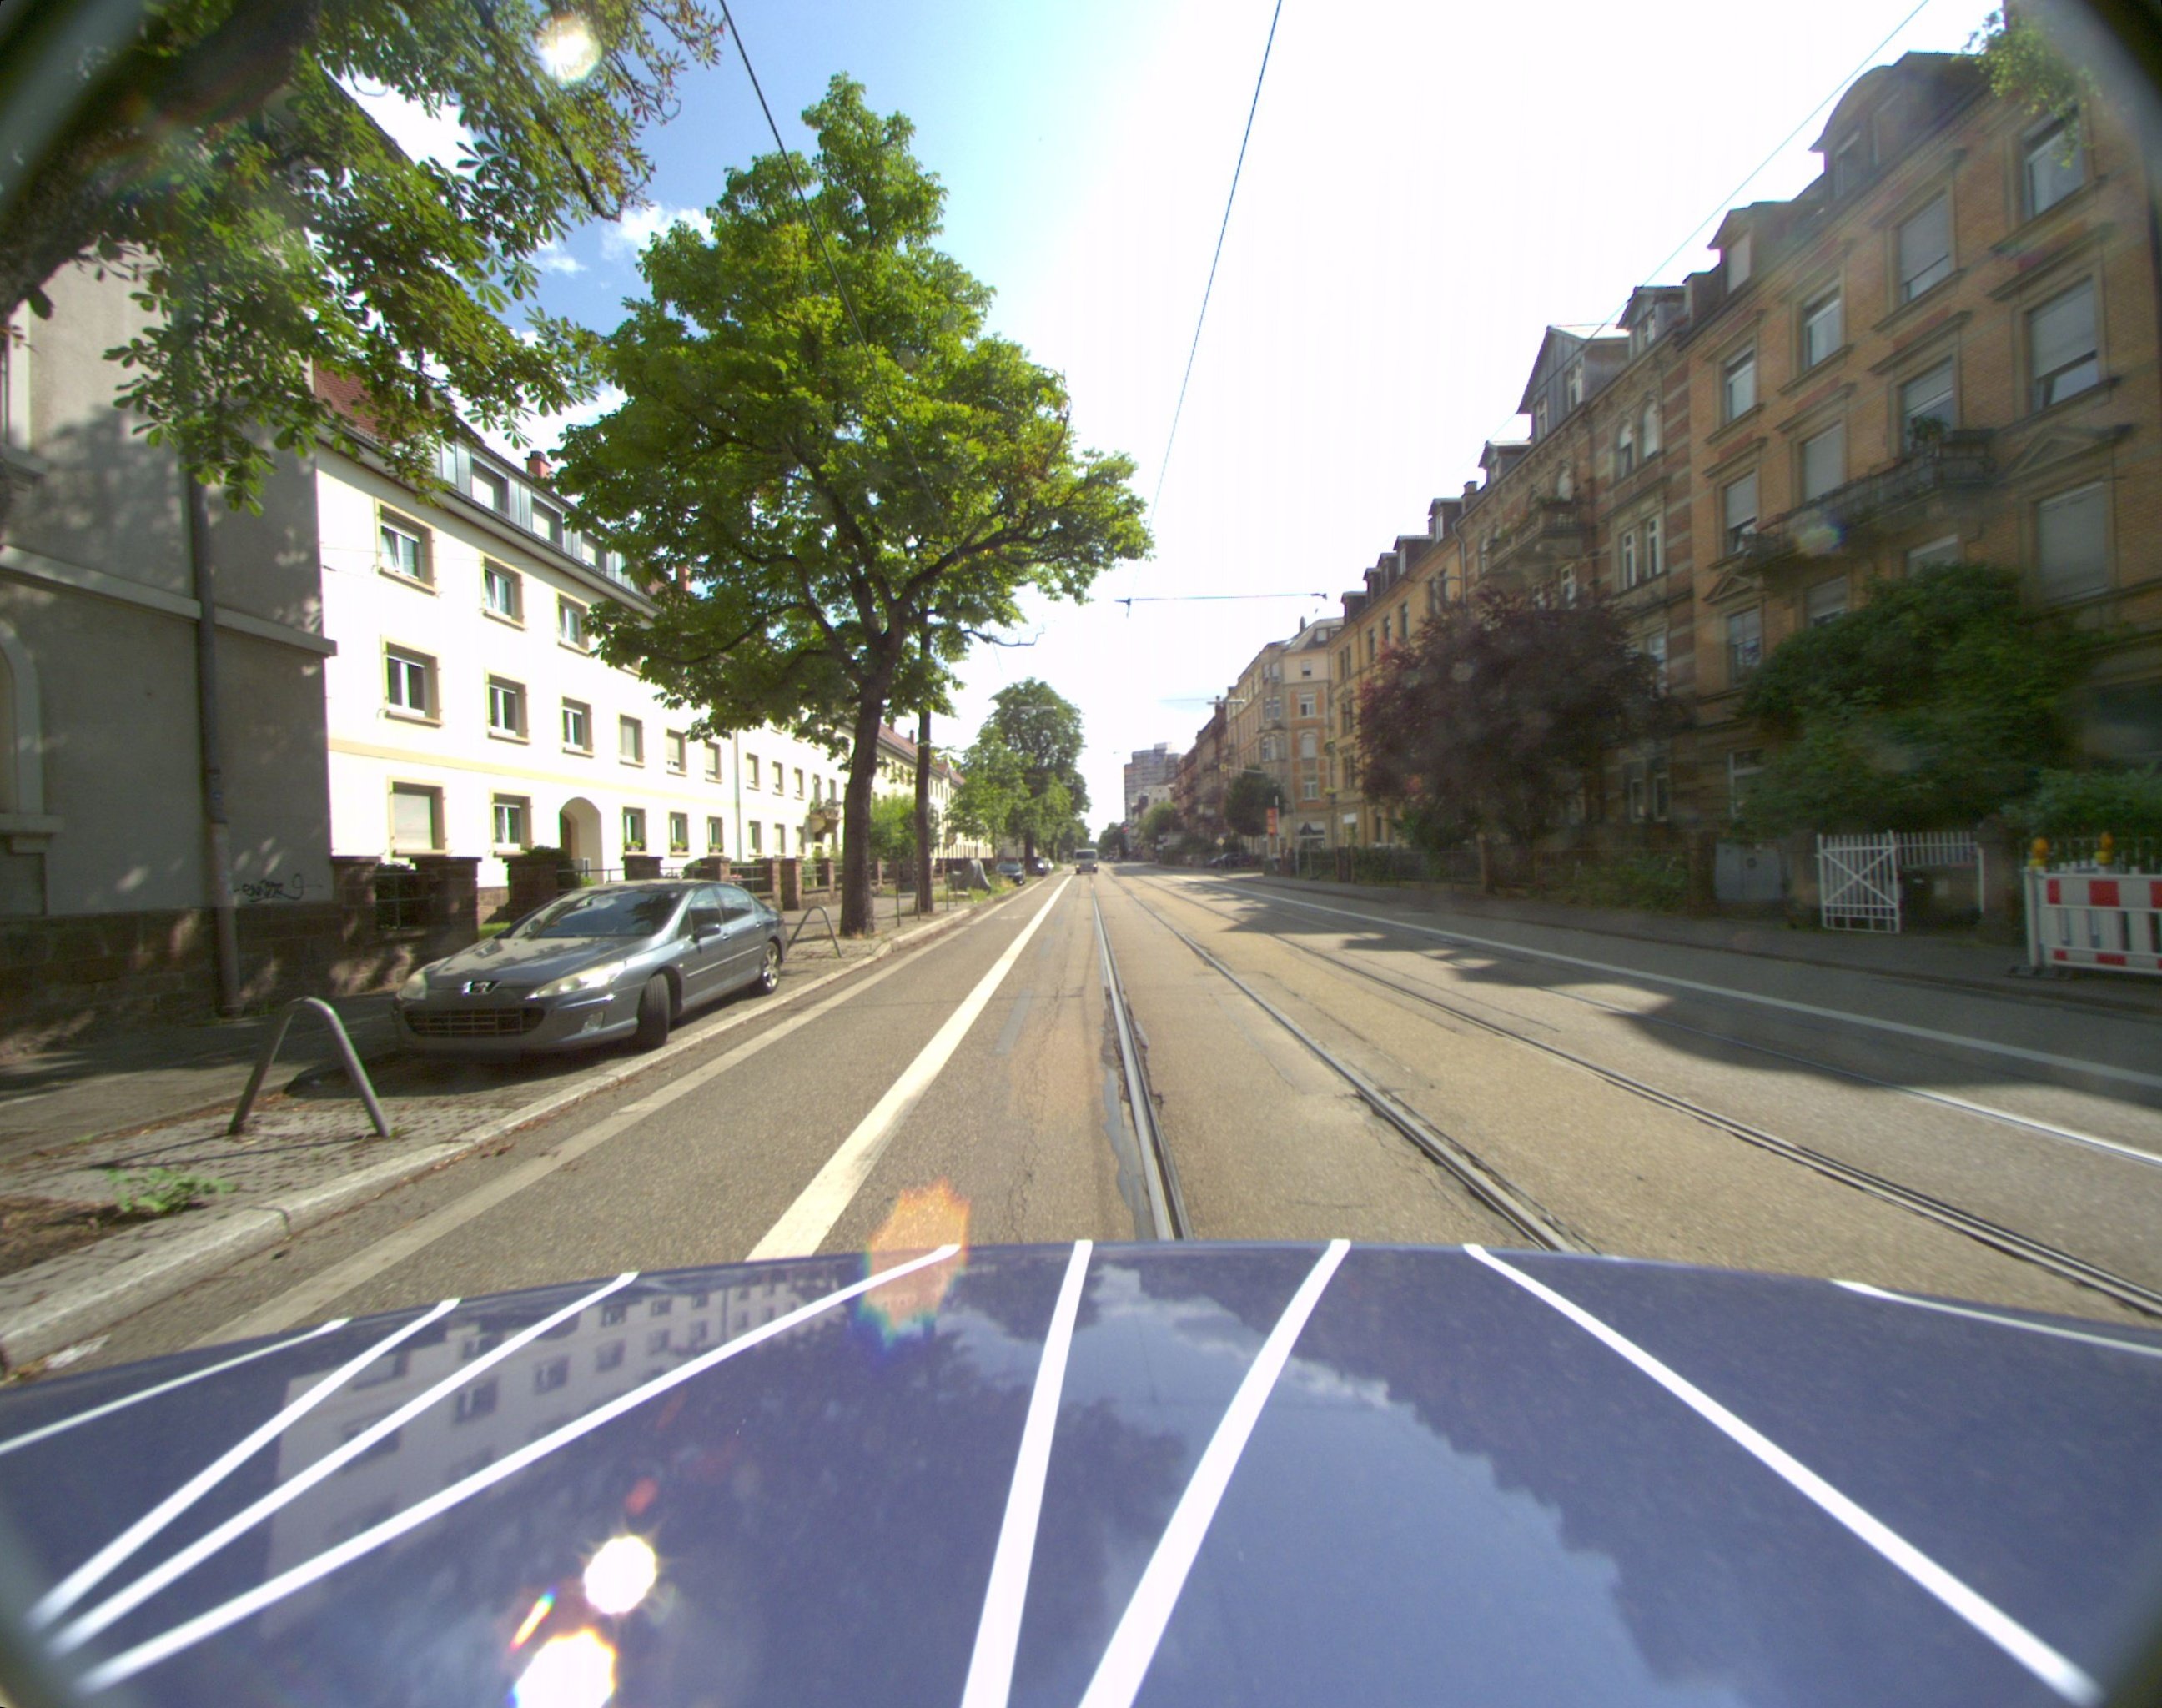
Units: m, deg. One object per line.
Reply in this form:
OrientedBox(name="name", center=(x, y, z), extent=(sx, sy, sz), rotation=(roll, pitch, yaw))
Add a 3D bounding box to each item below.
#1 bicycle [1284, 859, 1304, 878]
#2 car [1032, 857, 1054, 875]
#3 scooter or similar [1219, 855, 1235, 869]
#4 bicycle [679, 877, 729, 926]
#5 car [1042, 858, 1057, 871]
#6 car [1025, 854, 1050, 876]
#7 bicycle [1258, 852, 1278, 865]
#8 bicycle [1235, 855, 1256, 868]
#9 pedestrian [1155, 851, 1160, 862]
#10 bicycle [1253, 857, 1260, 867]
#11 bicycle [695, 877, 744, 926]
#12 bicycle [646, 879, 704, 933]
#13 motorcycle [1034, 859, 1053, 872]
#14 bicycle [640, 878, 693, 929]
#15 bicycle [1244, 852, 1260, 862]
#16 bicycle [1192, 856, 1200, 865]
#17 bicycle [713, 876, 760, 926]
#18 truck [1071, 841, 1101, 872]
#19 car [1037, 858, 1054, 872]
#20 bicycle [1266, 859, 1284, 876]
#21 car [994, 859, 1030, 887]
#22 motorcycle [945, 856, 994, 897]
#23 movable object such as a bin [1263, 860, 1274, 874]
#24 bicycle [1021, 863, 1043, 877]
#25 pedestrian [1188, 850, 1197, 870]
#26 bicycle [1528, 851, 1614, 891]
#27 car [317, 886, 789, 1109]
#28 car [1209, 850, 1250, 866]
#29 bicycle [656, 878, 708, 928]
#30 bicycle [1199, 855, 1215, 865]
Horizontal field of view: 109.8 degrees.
OrientedBox(name="bicycle", center=(11.461, 0.772, 40.926), extent=(0.531, 0.941, 1.968), rotation=(-2, 0, 0))
OrientedBox(name="car", center=(-3.790, 1.135, 75.869), extent=(1.867, 1.643, 4.637), rotation=(-2, 0, 0))
OrientedBox(name="scooter or similar", center=(12.740, 0.702, 66.448), extent=(1.367, 1.227, 0.403), rotation=(-3, 1, -28))
OrientedBox(name="bicycle", center=(-9.973, 1.231, 20.160), extent=(0.413, 1.204, 1.704), rotation=(-2, 0, 1))
OrientedBox(name="car", center=(-3.910, 1.268, 95.145), extent=(1.665, 1.512, 4.287), rotation=(-2, 0, 0))
OrientedBox(name="car", center=(-3.767, 0.912, 65.842), extent=(1.832, 1.772, 4.733), rotation=(-2, 0, 0))
OrientedBox(name="bicycle", center=(16.834, 0.411, 68.489), extent=(1.695, 1.057, 0.525), rotation=(-2, 0, 11))
OrientedBox(name="bicycle", center=(14.975, 0.684, 69.108), extent=(1.759, 1.057, 0.524), rotation=(-2, 0, -5))
OrientedBox(name="pedestrian", center=(11.343, 0.356, 112.449), extent=(0.489, 1.693, 1.151), rotation=(-2, 0, -2))
OrientedBox(name="bicycle", center=(15.405, 0.688, 66.594), extent=(0.524, 0.833, 1.700), rotation=(-2, -1, 13))
OrientedBox(name="bicycle", center=(-9.561, 1.232, 20.160), extent=(0.413, 1.204, 1.704), rotation=(-2, 0, 1))
OrientedBox(name="bicycle", center=(-9.822, 1.233, 18.440), extent=(0.413, 1.204, 1.704), rotation=(-2, 0, 1))
OrientedBox(name="motorcycle", center=(-4.086, 1.257, 82.538), extent=(2.012, 1.329, 0.747), rotation=(-2, 0, -4))
OrientedBox(name="bicycle", center=(-10.892, 1.278, 20.027), extent=(0.413, 1.204, 1.704), rotation=(-2, 0, 1))
OrientedBox(name="bicycle", center=(16.965, 0.286, 75.246), extent=(1.456, 0.971, 0.404), rotation=(-2, 0, 0))
OrientedBox(name="bicycle", center=(11.731, 0.651, 77.478), extent=(0.422, 0.971, 1.949), rotation=(-2, 0, 0))
OrientedBox(name="bicycle", center=(-9.138, 1.221, 20.215), extent=(0.413, 1.204, 1.704), rotation=(-2, 0, 1))
OrientedBox(name="truck", center=(0.444, 0.235, 70.741), extent=(2.532, 2.721, 6.514), rotation=(-2, 0, -1))
OrientedBox(name="car", center=(-4.086, 1.253, 87.148), extent=(1.746, 1.571, 4.248), rotation=(-2, 0, 0))
OrientedBox(name="bicycle", center=(11.401, 0.783, 44.730), extent=(0.531, 0.941, 1.968), rotation=(-2, 0, 0))
OrientedBox(name="car", center=(-4.166, 1.114, 46.242), extent=(1.710, 1.470, 4.196), rotation=(-4, 0, 0))
OrientedBox(name="motorcycle", center=(-4.542, 0.902, 30.861), extent=(0.680, 1.588, 2.380), rotation=(-2, 1, -44))
OrientedBox(name="movable object such as a bin", center=(12.065, 0.850, 48.995), extent=(0.526, 0.900, 0.636), rotation=(-2, 0, -1))
OrientedBox(name="bicycle", center=(-3.955, 1.290, 61.022), extent=(1.712, 1.001, 0.638), rotation=(-2, 0, 1))
OrientedBox(name="pedestrian", center=(10.139, 0.526, 68.865), extent=(0.534, 1.750, 1.105), rotation=(-4, 0, 0))
OrientedBox(name="bicycle", center=(13.376, 0.458, 20.740), extent=(2.211, 1.013, 0.467), rotation=(-2, 0, -10))
OrientedBox(name="car", center=(-4.658, 1.130, 7.707), extent=(1.851, 1.401, 4.393), rotation=(0, 0, -3))
OrientedBox(name="car", center=(14.265, 0.411, 73.240), extent=(3.611, 1.394, 1.787), rotation=(-3, 0, 4))
OrientedBox(name="bicycle", center=(-10.482, 1.263, 20.006), extent=(0.413, 1.204, 1.704), rotation=(-2, 0, 1))
OrientedBox(name="bicycle", center=(12.433, 0.599, 74.897), extent=(1.456, 0.971, 0.404), rotation=(-2, 0, 0))
